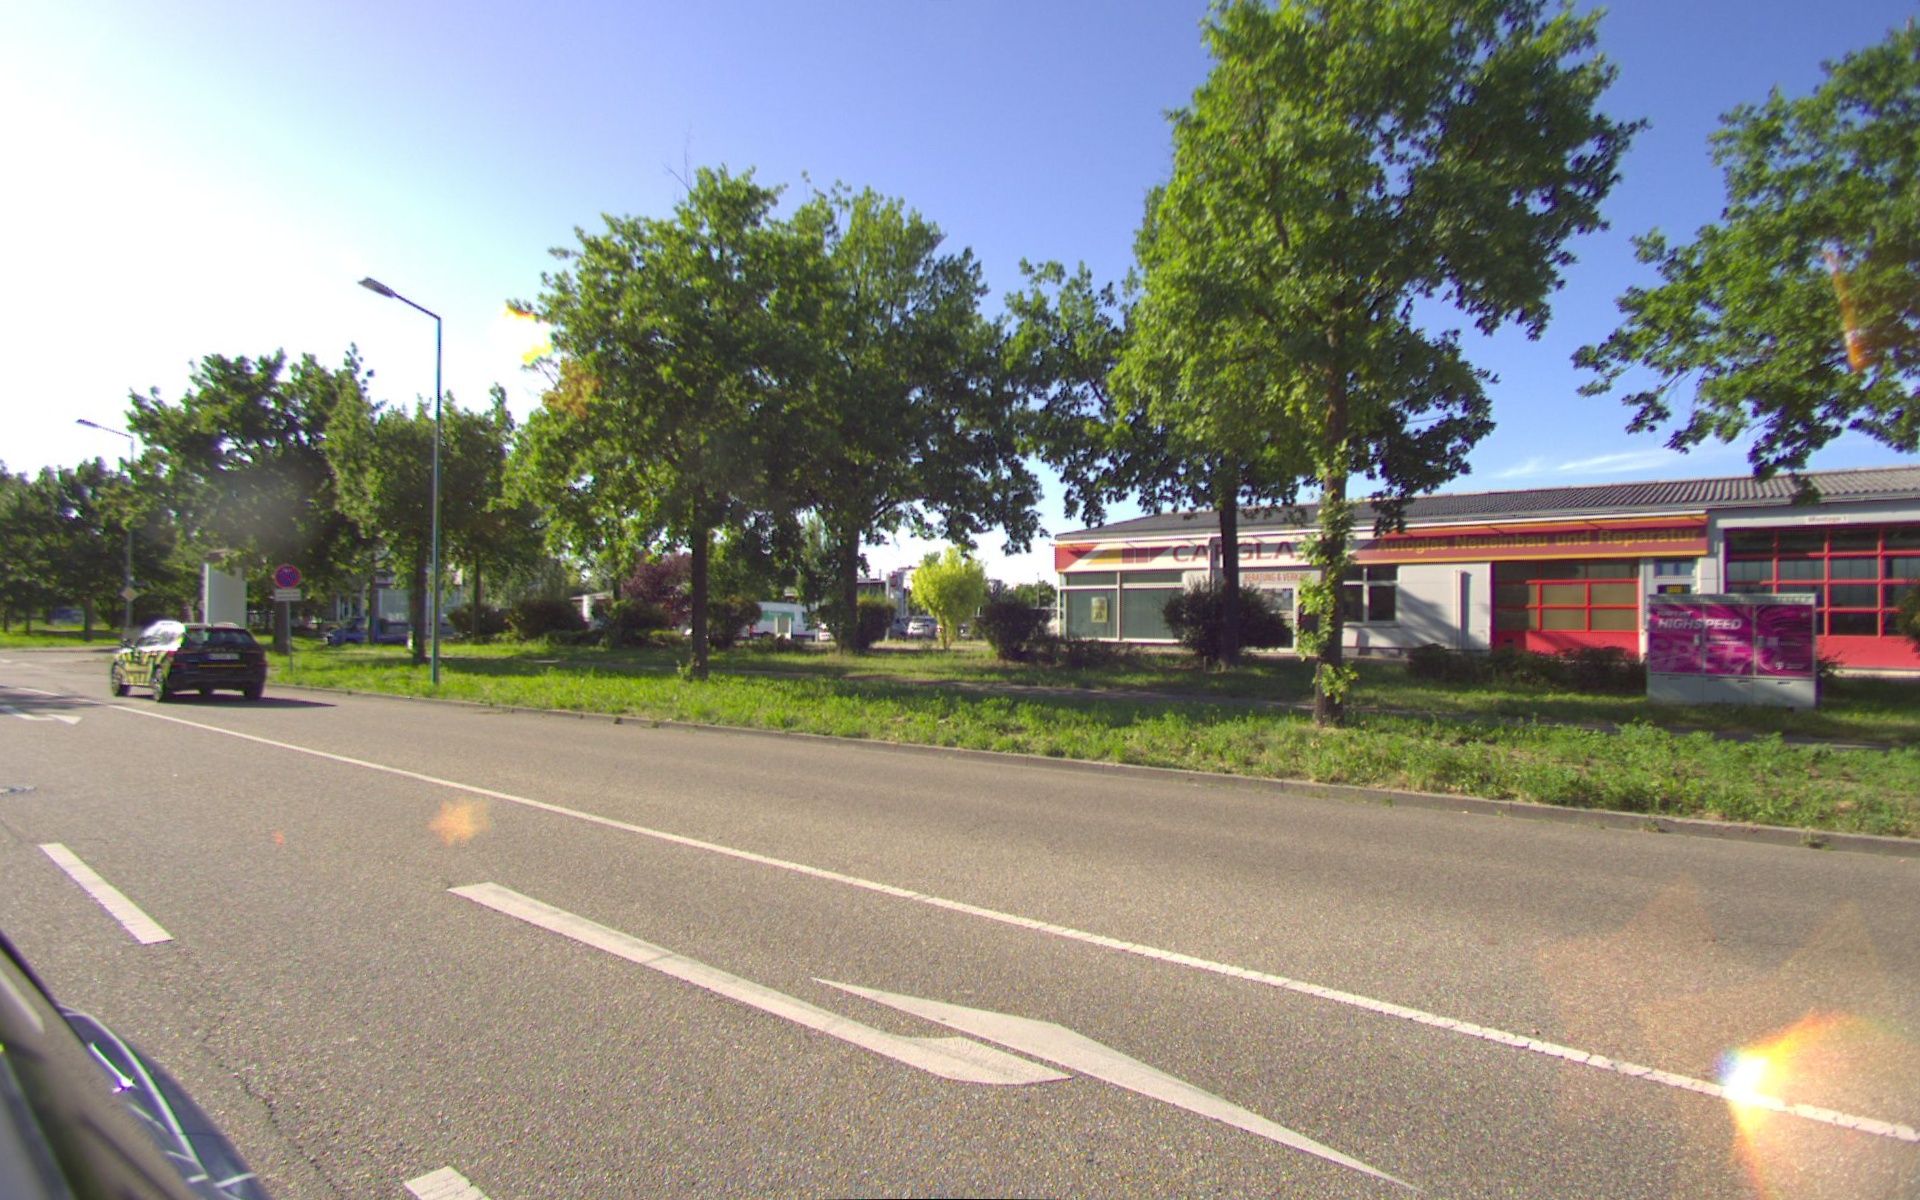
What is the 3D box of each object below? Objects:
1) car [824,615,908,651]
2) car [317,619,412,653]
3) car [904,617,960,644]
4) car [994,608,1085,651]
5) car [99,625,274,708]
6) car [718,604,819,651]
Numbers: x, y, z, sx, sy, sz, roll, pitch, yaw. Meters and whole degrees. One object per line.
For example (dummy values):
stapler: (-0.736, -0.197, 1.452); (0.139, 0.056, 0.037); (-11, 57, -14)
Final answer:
car: (-5.142, 1.764, 55.789); (1.989, 1.795, 4.583); (-1, 0, 40)
car: (-35.967, 2.154, 61.236); (1.999, 1.847, 4.578); (-1, 0, 41)
car: (-1.867, 2.046, 68.623); (1.761, 1.684, 3.811); (-1, 0, 40)
car: (3.216, 1.152, 40.605); (1.734, 1.583, 3.769); (-3, -1, 40)
car: (-15.849, 1.294, 20.677); (4.073, 1.537, 1.746); (-1, -3, 37)
car: (-11.448, 1.595, 61.001); (2.406, 2.574, 5.952); (-1, 0, 36)
